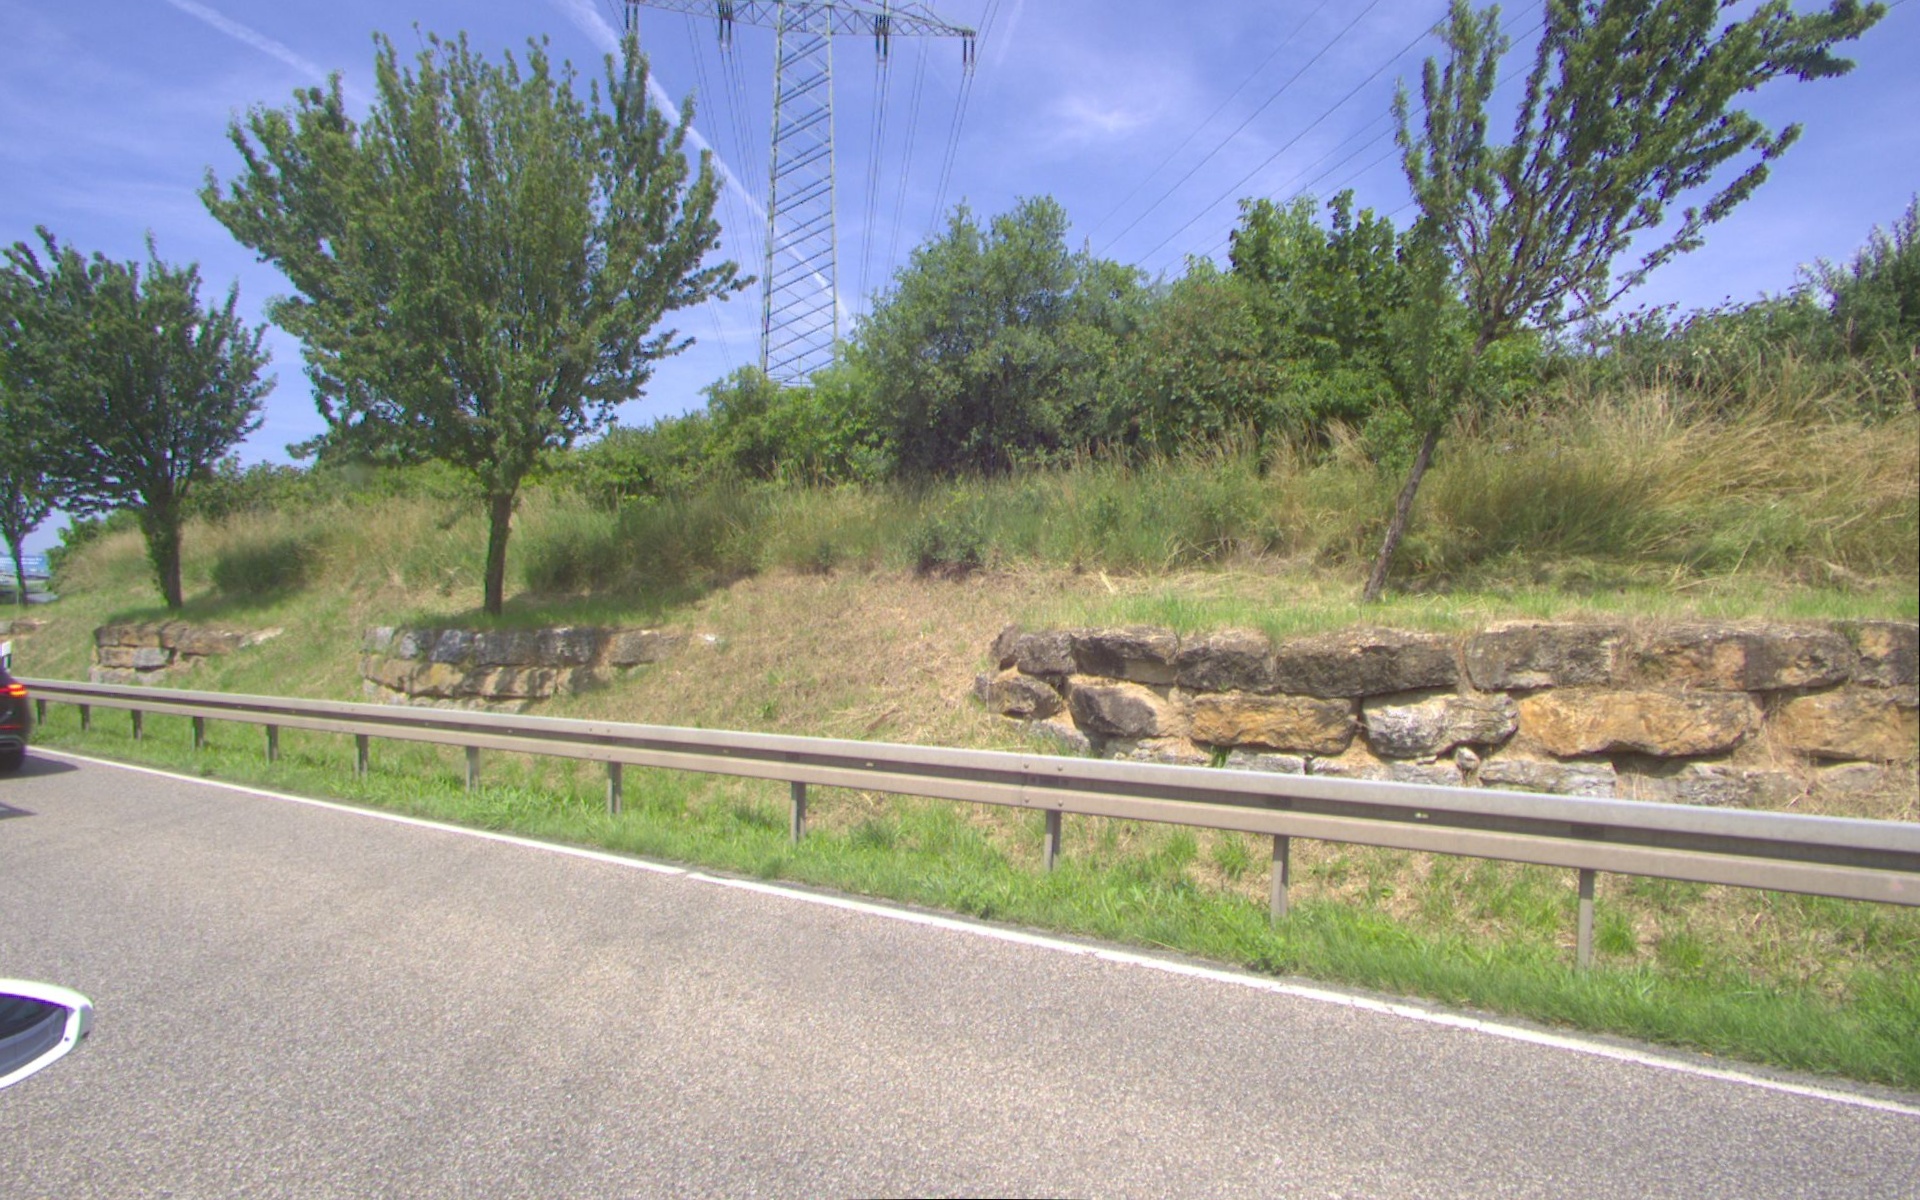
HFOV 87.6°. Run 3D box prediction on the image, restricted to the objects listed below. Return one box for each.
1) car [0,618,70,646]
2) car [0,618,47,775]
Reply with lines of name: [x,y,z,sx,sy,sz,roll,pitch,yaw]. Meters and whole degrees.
car: [-52.680,1.788,55.748,1.687,1.530,4.361,-1,-1,23]
car: [-11.581,0.992,10.679,4.239,1.552,1.742,-1,-2,33]
